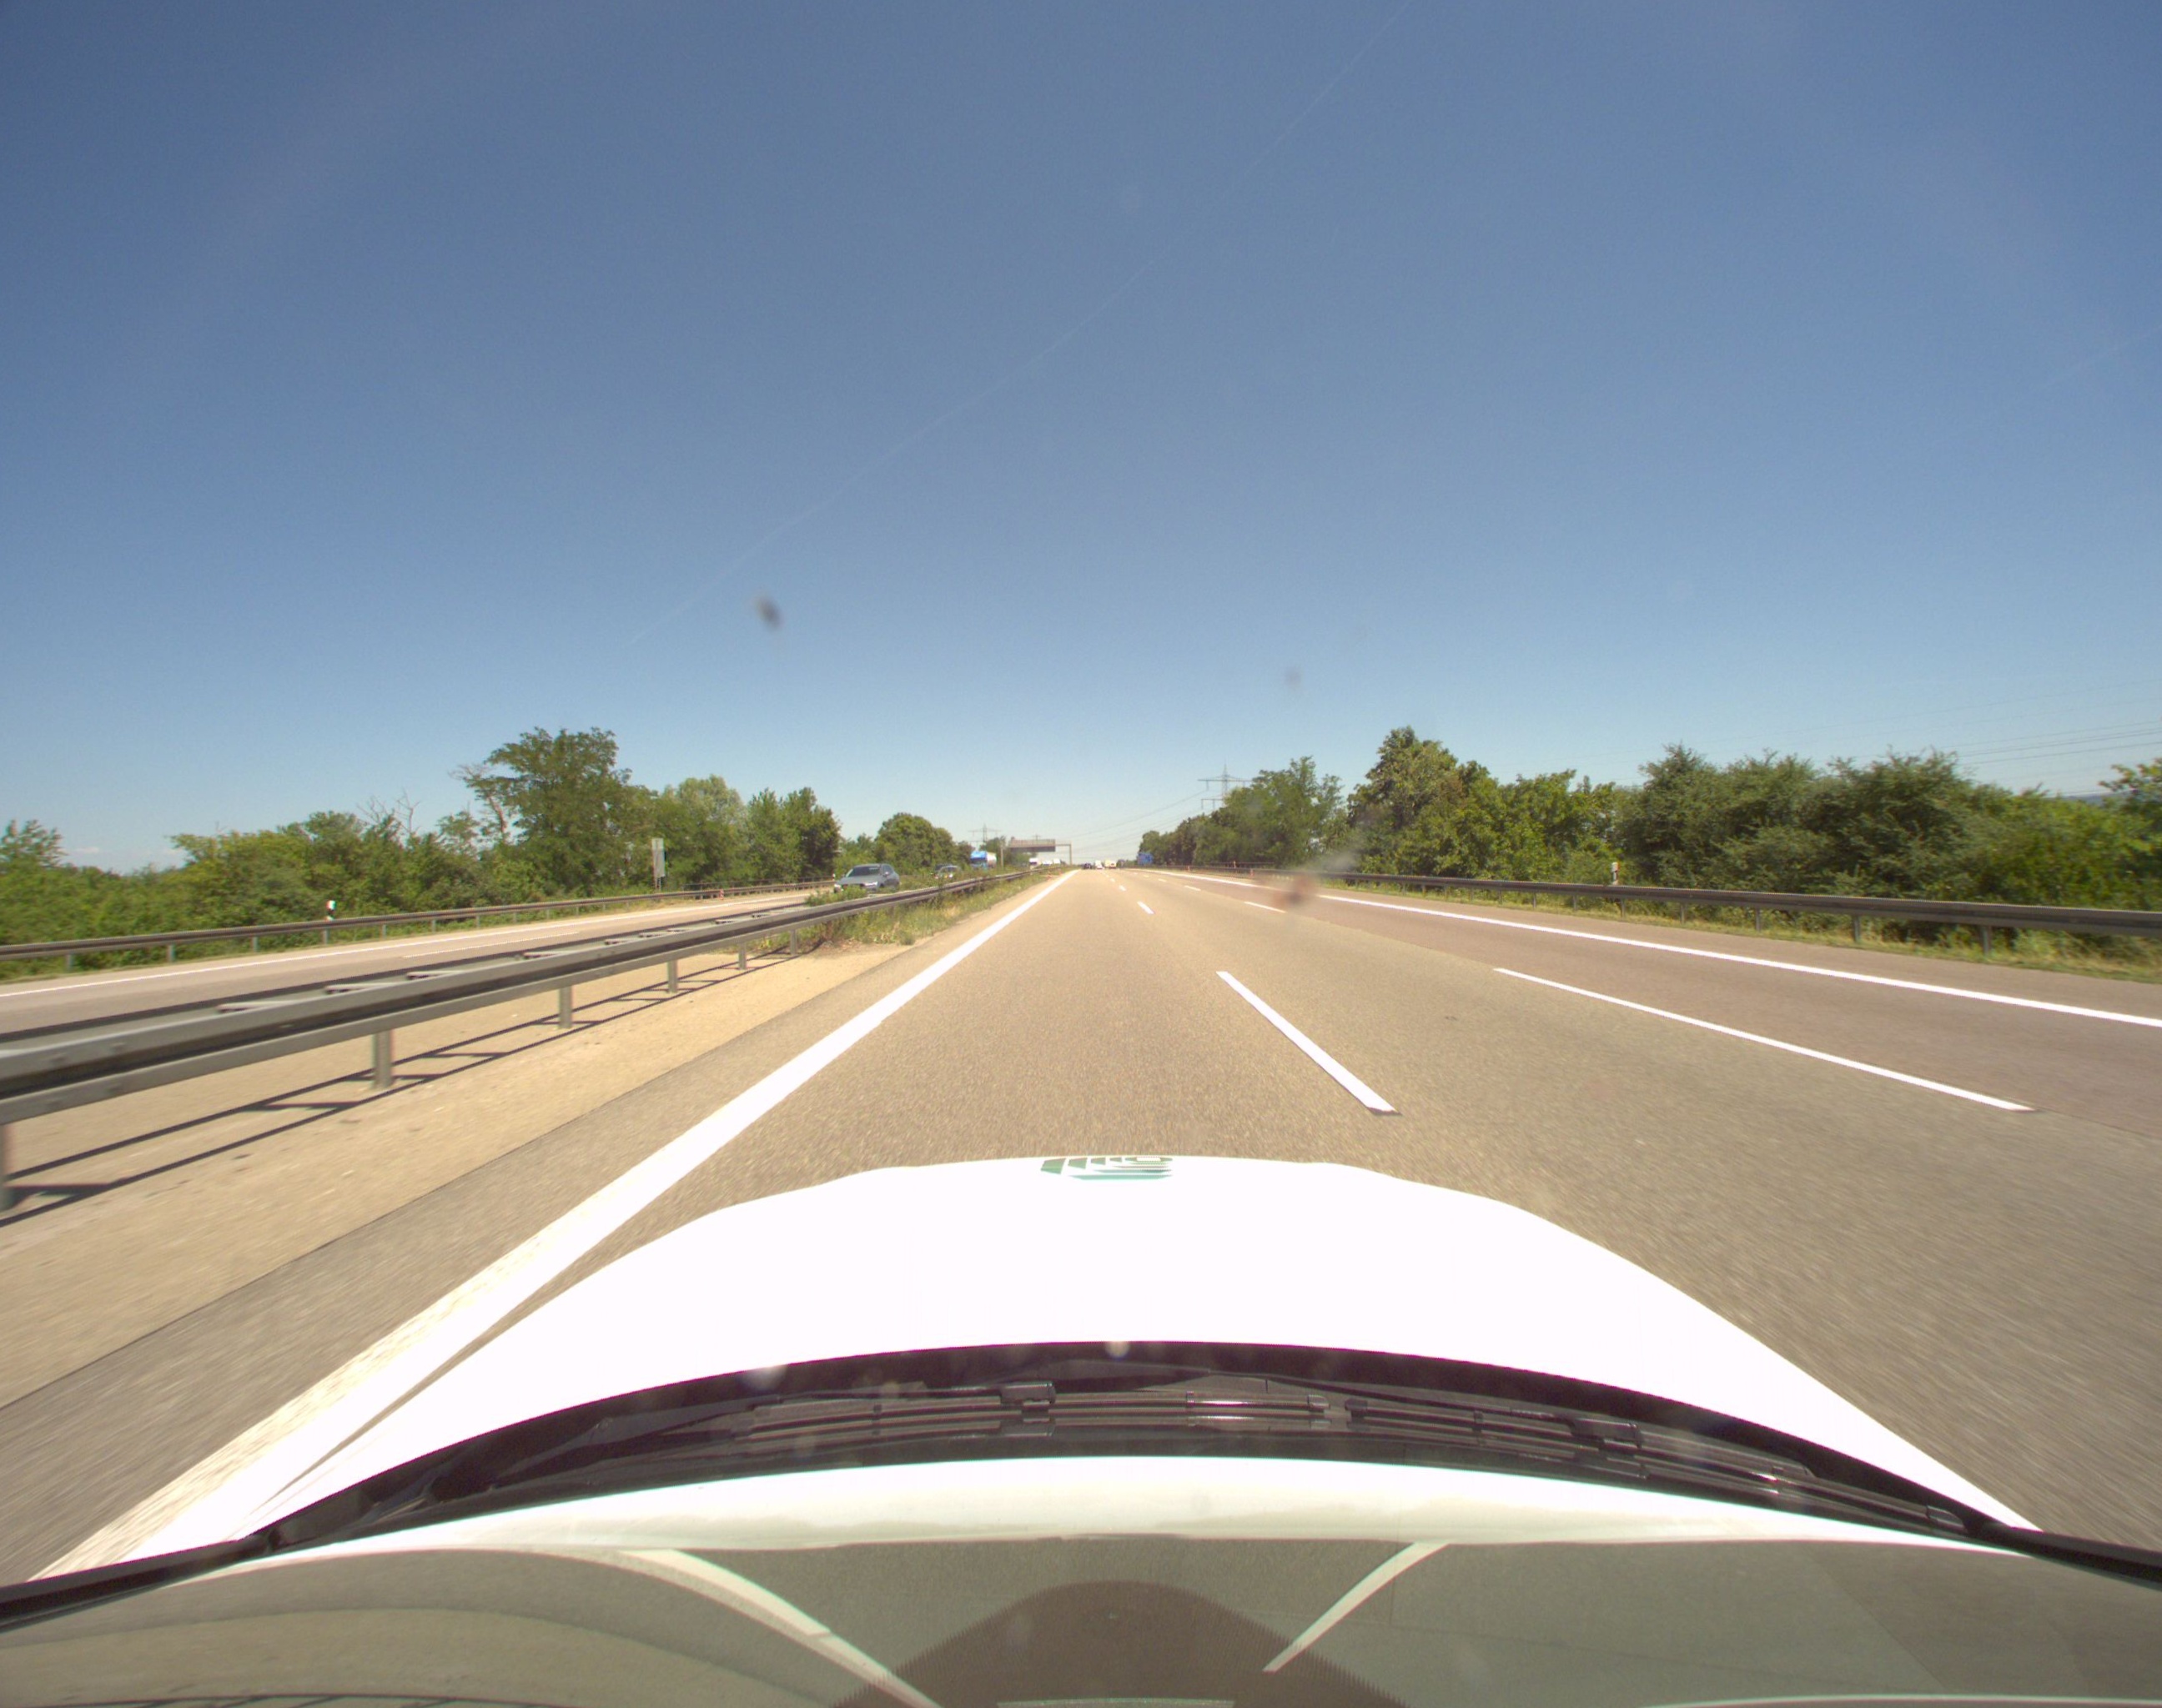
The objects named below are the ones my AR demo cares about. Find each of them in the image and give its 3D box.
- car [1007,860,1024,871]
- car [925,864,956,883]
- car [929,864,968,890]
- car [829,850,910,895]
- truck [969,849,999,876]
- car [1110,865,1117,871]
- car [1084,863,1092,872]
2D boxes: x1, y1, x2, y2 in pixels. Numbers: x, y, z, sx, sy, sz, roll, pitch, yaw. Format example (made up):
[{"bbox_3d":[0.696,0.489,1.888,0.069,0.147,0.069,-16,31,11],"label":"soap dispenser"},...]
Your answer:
[{"bbox_3d":[-11.797,2.085,146.229,2.405,1.918,5.783,-2,0,1],"label":"car"},{"bbox_3d":[-12.626,1.732,73.325,1.987,1.618,3.999,-2,0,0],"label":"car"},{"bbox_3d":[-9.495,1.602,58.558,1.987,1.730,4.093,-2,0,1],"label":"car"},{"bbox_3d":[-8.959,0.759,34.987,1.987,1.730,5.108,-2,0,1],"label":"car"},{"bbox_3d":[-15.849,1.482,134.720,2.719,4.053,15.937,-2,-1,1],"label":"truck"},{"bbox_3d":[9.866,4.299,249.737,1.987,2.014,3.999,-2,-1,0],"label":"car"},{"bbox_3d":[1.520,3.112,183.033,1.785,2.014,3.888,0,-1,1],"label":"car"}]
